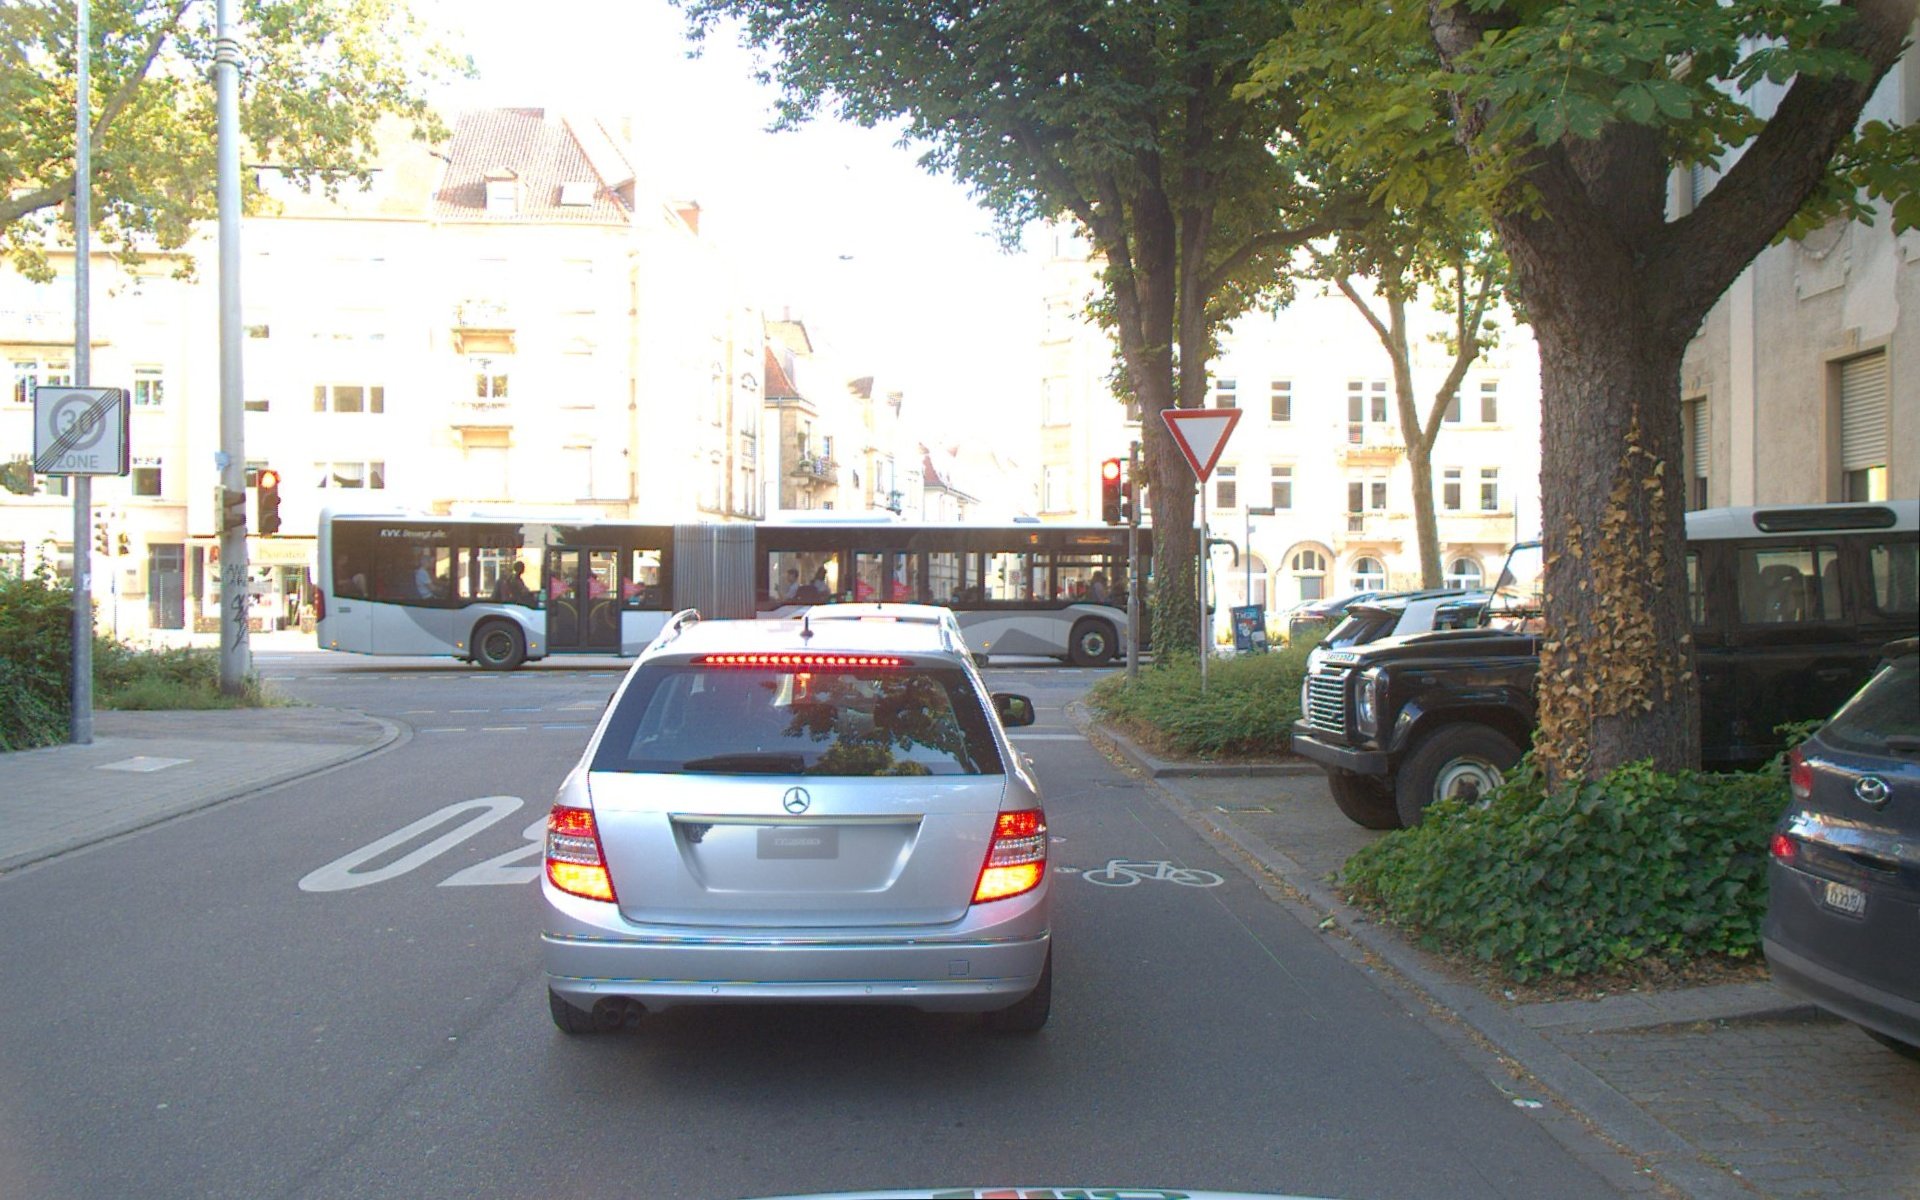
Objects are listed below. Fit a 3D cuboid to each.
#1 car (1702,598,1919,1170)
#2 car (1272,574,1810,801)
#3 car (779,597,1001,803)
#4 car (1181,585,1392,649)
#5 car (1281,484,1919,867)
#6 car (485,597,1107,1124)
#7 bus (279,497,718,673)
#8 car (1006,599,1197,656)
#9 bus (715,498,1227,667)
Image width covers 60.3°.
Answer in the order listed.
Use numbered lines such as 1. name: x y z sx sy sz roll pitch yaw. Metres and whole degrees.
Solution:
1. car: 4.286 0.703 4.622 3.650 1.477 1.707 -1 0 -4
2. car: 4.511 0.645 13.169 3.650 1.597 1.707 -1 0 -4
3. car: -0.591 0.719 14.049 1.587 1.472 4.342 1 0 -2
4. car: 7.696 0.388 39.149 4.602 1.453 1.715 0 0 -9
5. car: 4.370 0.401 10.200 4.377 2.072 1.699 -1 0 -4
6. car: -0.549 0.737 6.954 1.741 1.477 4.546 1 0 -2
7. bus: -8.873 -0.320 32.778 8.024 3.257 2.906 -1 0 -9
8. car: 3.226 0.610 38.143 4.119 1.258 1.715 0 0 -9
9. bus: 0.133 -0.399 34.228 10.258 3.257 2.906 -1 0 -9
